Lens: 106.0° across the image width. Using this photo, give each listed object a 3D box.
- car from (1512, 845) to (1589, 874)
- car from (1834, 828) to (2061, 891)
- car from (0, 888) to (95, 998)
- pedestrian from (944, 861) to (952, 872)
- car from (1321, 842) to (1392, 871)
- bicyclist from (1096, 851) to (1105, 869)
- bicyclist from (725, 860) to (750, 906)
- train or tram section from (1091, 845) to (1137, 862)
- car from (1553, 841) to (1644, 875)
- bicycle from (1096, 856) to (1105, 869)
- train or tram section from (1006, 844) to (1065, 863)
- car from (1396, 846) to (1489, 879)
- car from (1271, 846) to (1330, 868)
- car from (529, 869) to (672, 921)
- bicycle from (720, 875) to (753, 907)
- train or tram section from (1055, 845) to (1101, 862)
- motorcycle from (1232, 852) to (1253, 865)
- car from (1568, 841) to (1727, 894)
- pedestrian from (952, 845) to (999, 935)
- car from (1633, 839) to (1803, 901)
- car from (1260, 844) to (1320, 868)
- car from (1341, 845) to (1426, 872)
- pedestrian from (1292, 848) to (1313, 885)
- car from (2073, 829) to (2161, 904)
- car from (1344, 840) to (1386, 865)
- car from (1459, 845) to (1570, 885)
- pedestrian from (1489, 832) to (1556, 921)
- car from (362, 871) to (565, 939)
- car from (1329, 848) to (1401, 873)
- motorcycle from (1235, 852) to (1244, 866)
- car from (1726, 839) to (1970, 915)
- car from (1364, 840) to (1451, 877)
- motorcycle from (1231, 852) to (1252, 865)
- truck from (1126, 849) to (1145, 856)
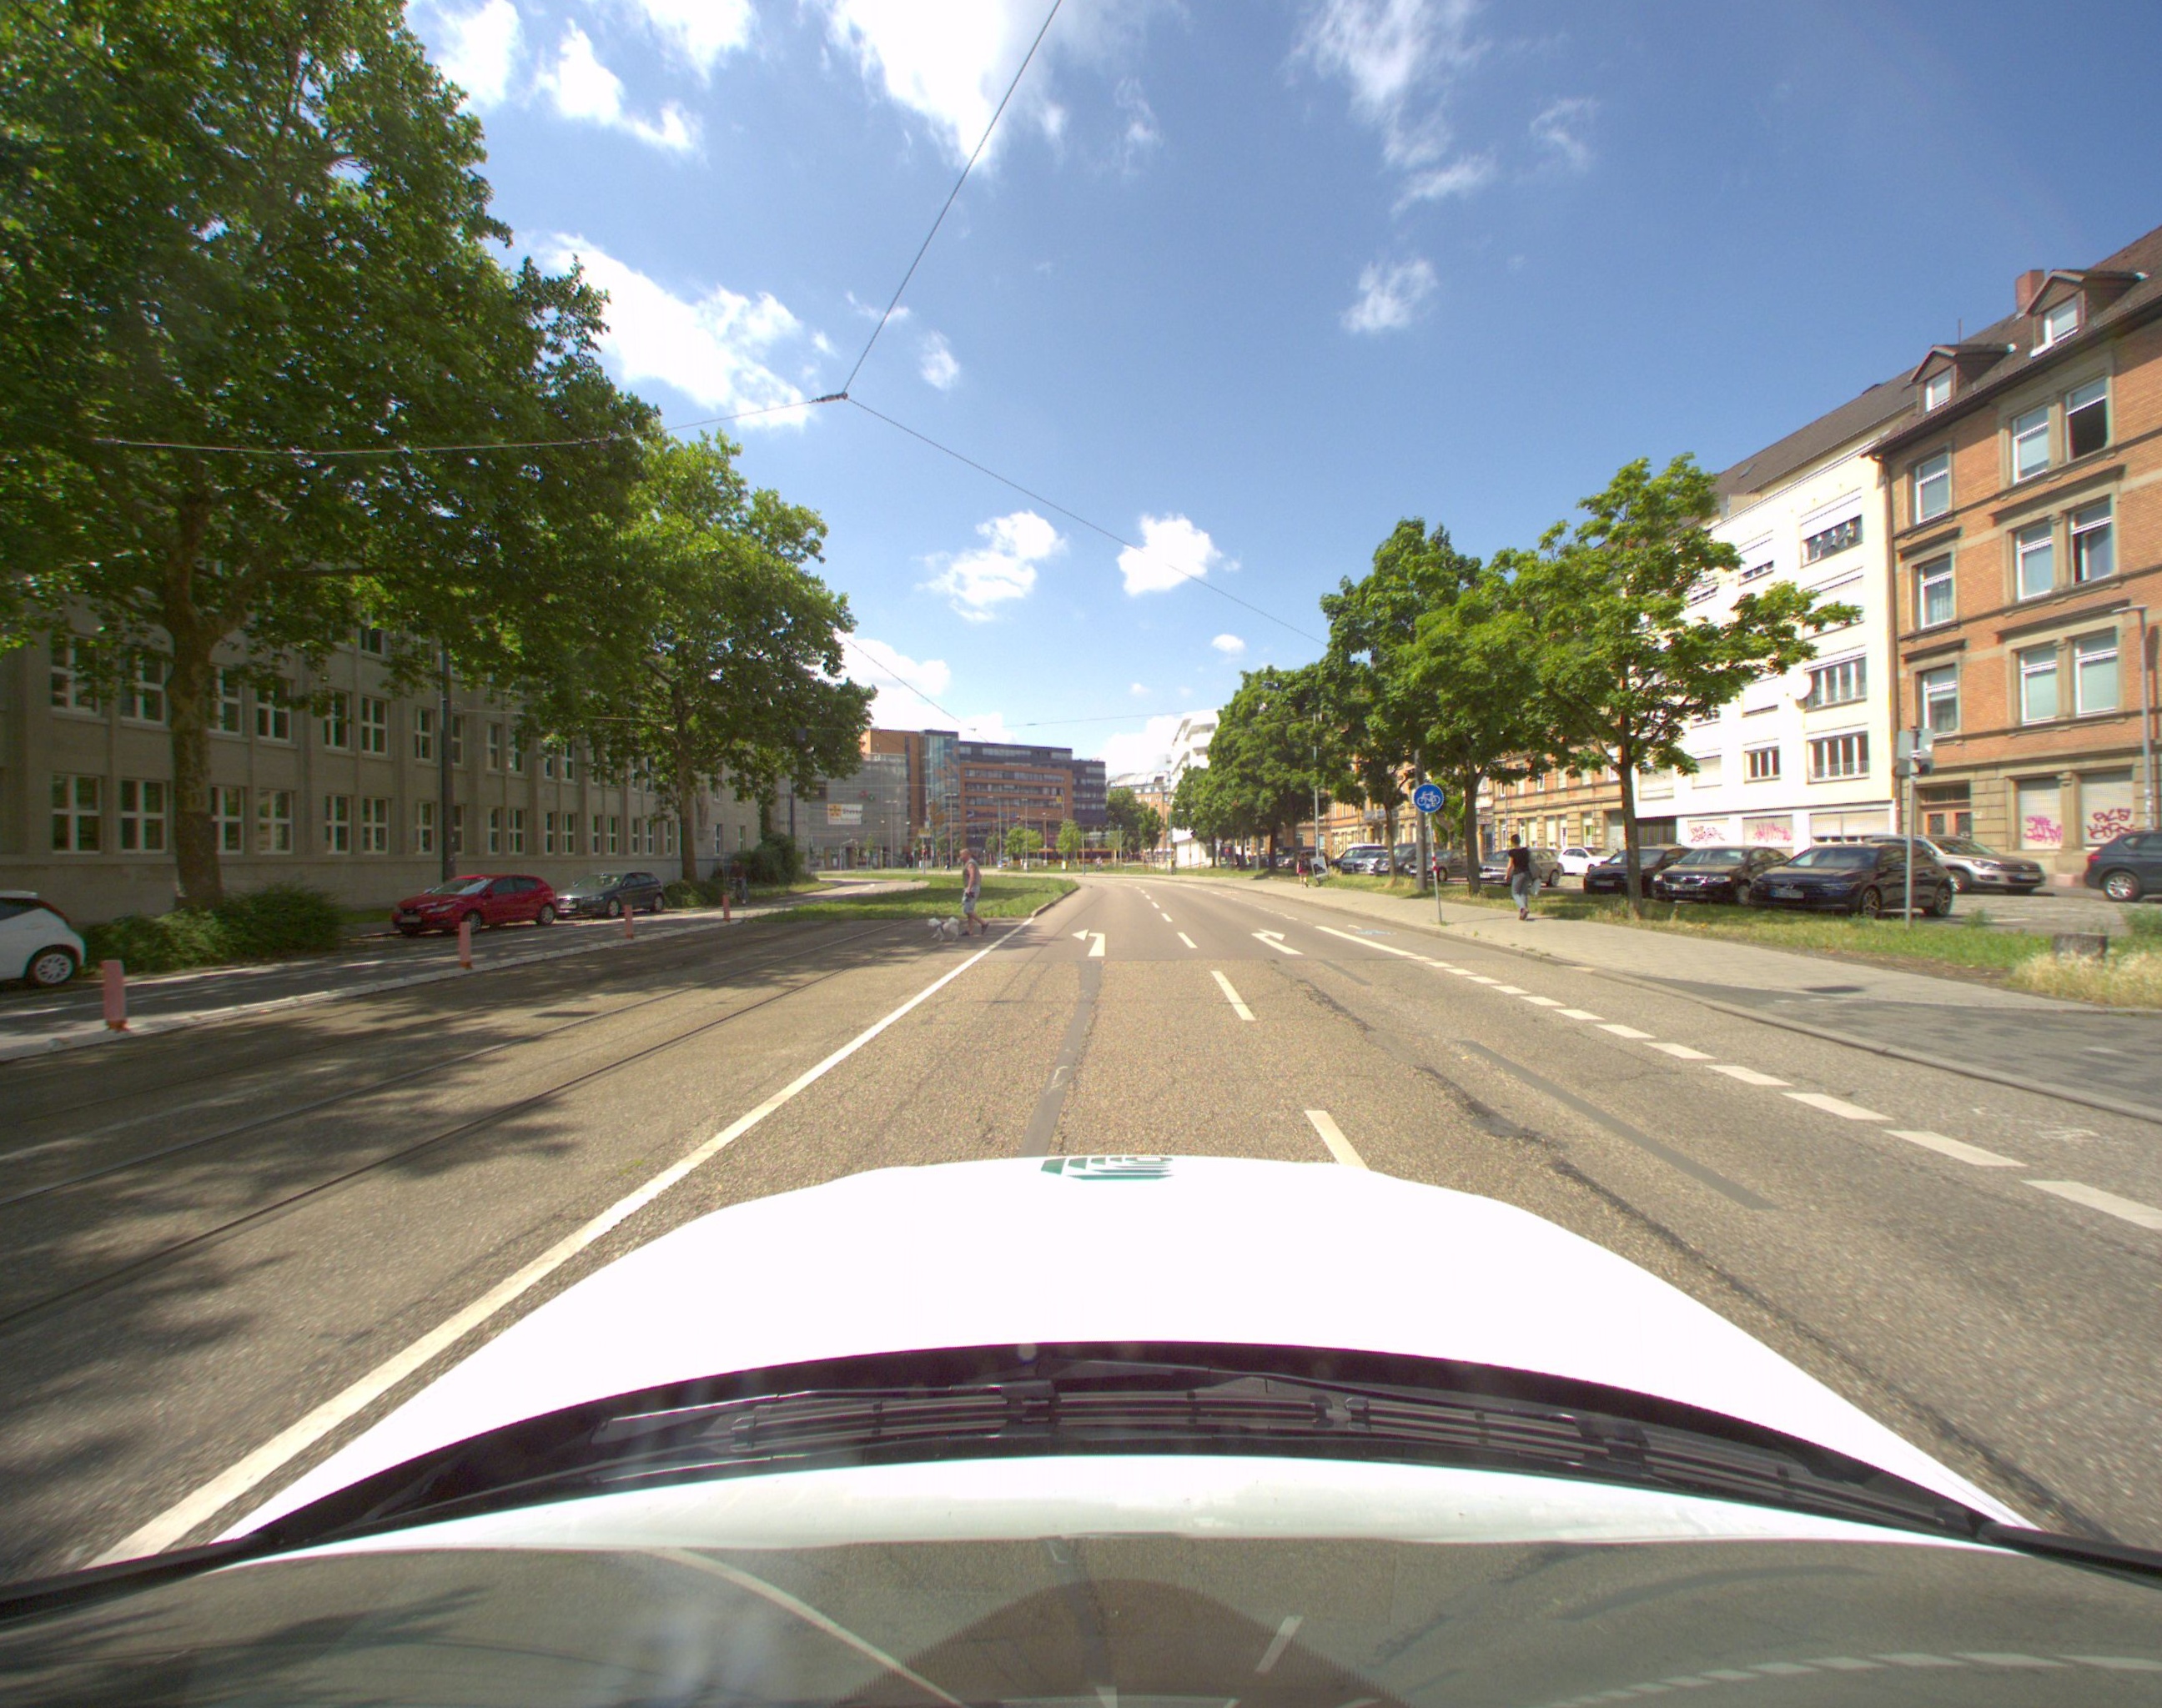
[{"bbox_3d":[24.915,0.303,43.403,1.824,1.492,4.230,0,-1,3],"label":"car"},{"bbox_3d":[24.443,0.156,23.264,1.824,1.615,4.498,0,-1,3],"label":"car"},{"bbox_3d":[-15.759,1.250,10.517,1.740,1.454,3.491,0,0,1],"label":"car"},{"bbox_3d":[-19.901,1.856,121.990,0.907,1.702,0.813,-2,0,27],"label":"pedestrian"},{"bbox_3d":[17.098,0.141,50.483,4.160,1.741,1.835,0,-1,-29],"label":"car"},{"bbox_3d":[2.009,0.590,84.521,0.690,1.824,0.959,-3,1,10],"label":"bicyclist"},{"bbox_3d":[-13.068,1.091,30.970,0.762,1.704,0.779,0,-1,-15],"label":"bicyclist"},{"bbox_3d":[7.400,0.018,180.496,3.026,3.621,12.714,-1,-1,40],"label":"train or tram section"},{"bbox_3d":[24.500,0.199,38.730,1.824,1.492,4.230,0,-1,3],"label":"car"},{"bbox_3d":[2.038,0.923,84.500,0.690,1.242,1.843,-4,1,8],"label":"bicycle"},{"bbox_3d":[-8.912,-0.094,162.491,3.186,3.599,13.582,-1,-1,42],"label":"train or tram section"},{"bbox_3d":[16.186,0.380,36.444,4.286,1.380,1.833,0,-1,-34],"label":"car"},{"bbox_3d":[16.977,0.263,63.091,4.181,1.656,1.901,0,-1,-25],"label":"car"},{"bbox_3d":[-14.971,1.222,25.700,1.919,1.369,4.318,0,0,1],"label":"car"},{"bbox_3d":[-13.050,1.382,30.893,0.791,1.110,2.266,0,-1,-14],"label":"bicycle"},{"bbox_3d":[-0.535,-0.041,171.632,3.026,3.603,11.058,-1,-1,43],"label":"train or tram section"},{"bbox_3d":[14.687,0.432,73.909,1.777,1.167,0.640,-1,0,0],"label":"motorcycle"},{"bbox_3d":[15.855,0.366,22.782,4.007,1.380,1.945,0,-1,-26],"label":"car"},{"bbox_3d":[-2.033,0.683,15.768,0.777,1.704,0.703,0,-1,4],"label":"pedestrian"},{"bbox_3d":[15.520,0.366,19.812,4.012,1.380,1.942,0,-1,-31],"label":"car"},{"bbox_3d":[16.973,0.154,66.085,4.642,1.927,1.899,0,-1,-29],"label":"car"},{"bbox_3d":[16.426,0.243,44.114,4.710,1.380,1.833,0,-1,-32],"label":"car"},{"bbox_3d":[9.750,0.558,35.838,0.698,1.592,0.905,0,-1,1],"label":"pedestrian"},{"bbox_3d":[24.154,0.255,16.939,1.823,1.615,4.502,0,-1,5],"label":"car"},{"bbox_3d":[25.725,-0.094,73.981,2.102,2.178,5.397,0,-1,3],"label":"car"},{"bbox_3d":[16.011,0.406,30.034,4.286,1.380,1.833,0,-1,-34],"label":"car"},{"bbox_3d":[8.924,0.449,16.499,0.698,1.704,1.045,-4,0,1],"label":"pedestrian"},{"bbox_3d":[-15.426,1.214,20.664,1.918,1.420,4.053,0,0,3],"label":"car"},{"bbox_3d":[16.542,0.358,47.327,4.100,1.405,1.833,0,-1,-33],"label":"car"},{"bbox_3d":[13.865,0.439,71.308,0.633,1.167,1.914,-1,0,15],"label":"motorcycle"},{"bbox_3d":[15.156,0.428,16.128,4.001,1.354,1.948,0,-1,-20],"label":"car"},{"bbox_3d":[16.146,0.204,40.229,4.383,1.741,1.833,0,-1,-34],"label":"car"},{"bbox_3d":[14.699,0.439,74.766,1.777,1.167,0.640,-1,0,0],"label":"motorcycle"},{"bbox_3d":[15.668,-0.355,232.226,2.011,2.086,5.455,1,-1,-45],"label":"truck"}]
